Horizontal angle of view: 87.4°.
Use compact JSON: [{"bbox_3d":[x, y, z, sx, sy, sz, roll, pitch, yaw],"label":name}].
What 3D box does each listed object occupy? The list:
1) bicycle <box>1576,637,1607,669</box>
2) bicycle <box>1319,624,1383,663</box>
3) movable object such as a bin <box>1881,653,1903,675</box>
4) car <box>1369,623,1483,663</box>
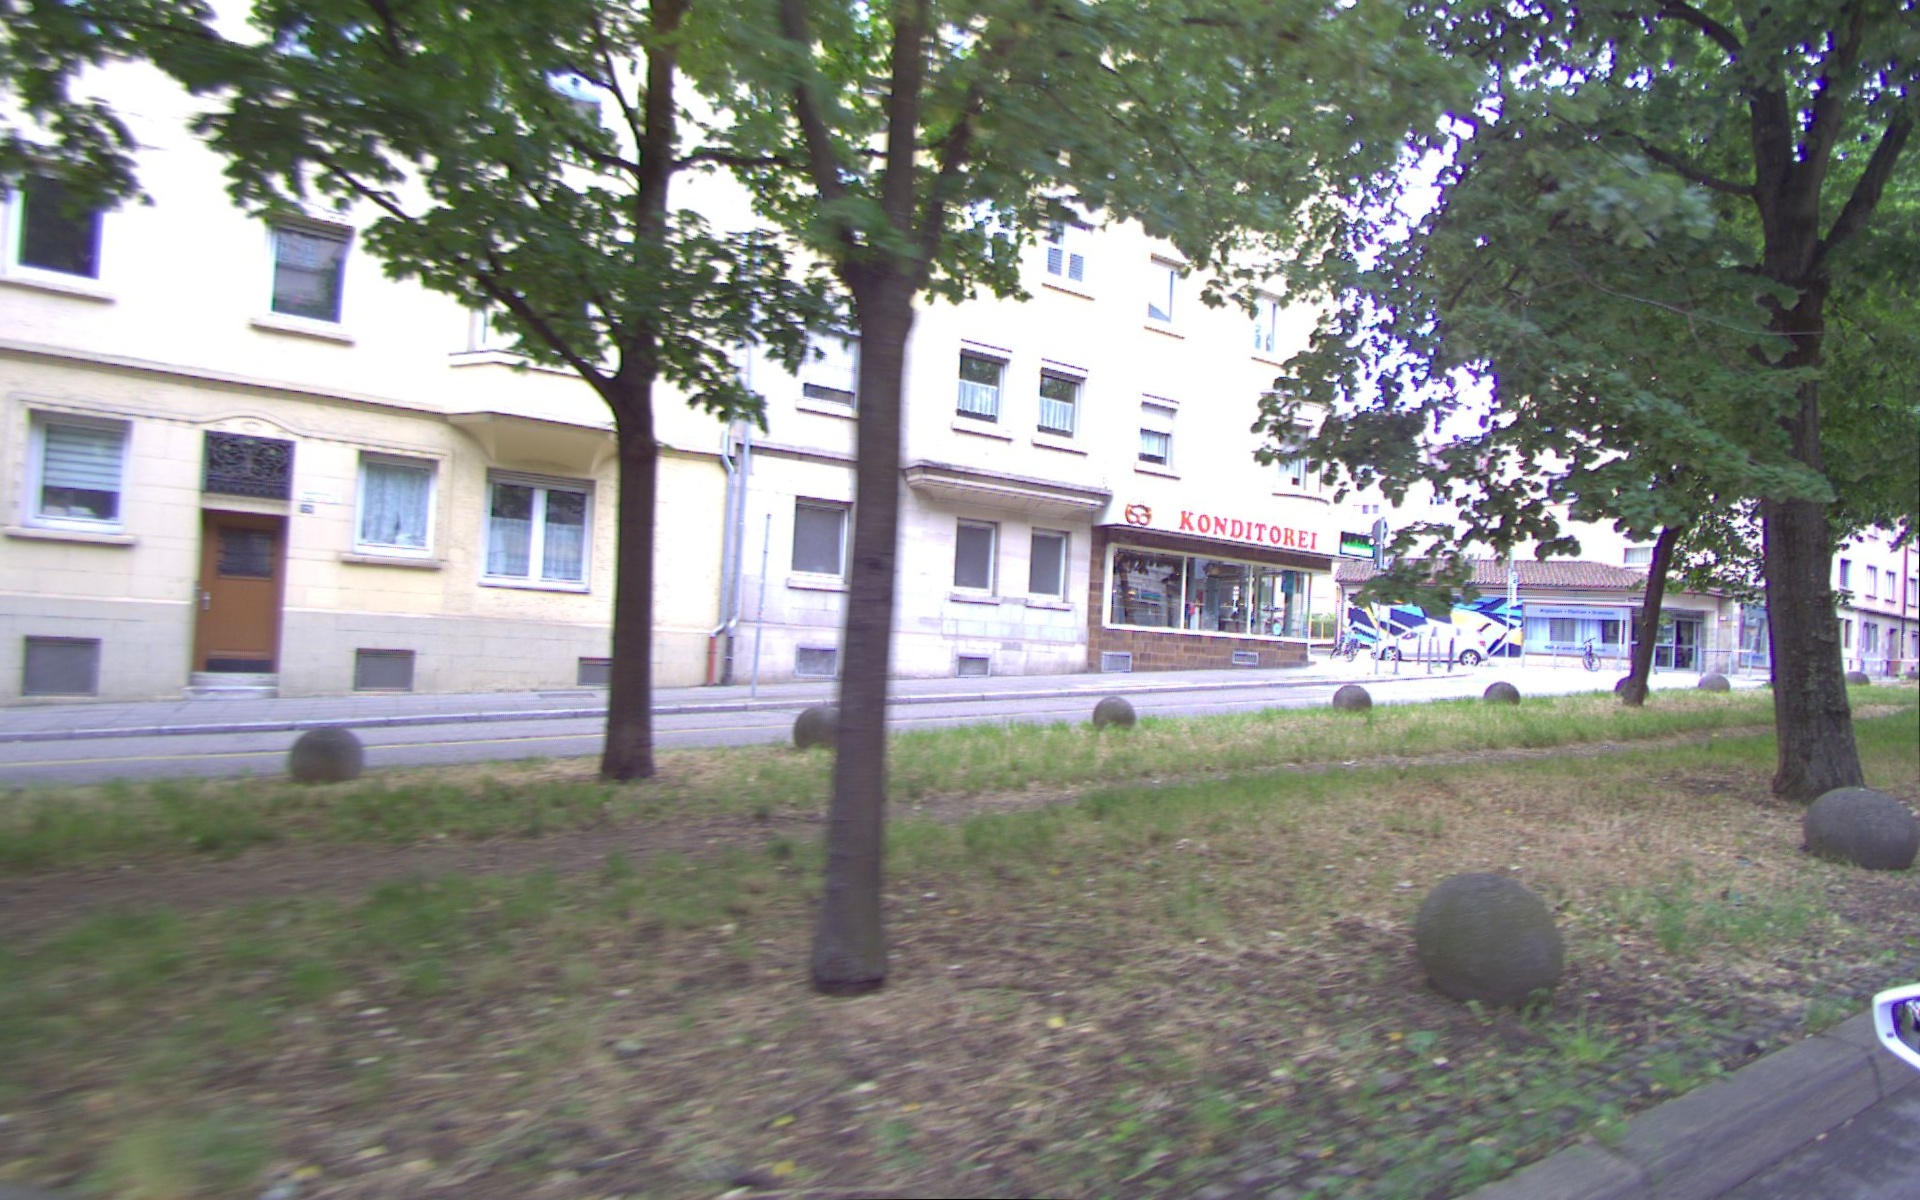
[{"bbox_3d":[23.073,1.940,36.675,0.752,1.099,2.030,3,-1,36],"label":"bicycle"},{"bbox_3d":[12.351,1.344,31.812,0.851,1.060,2.458,3,0,-4],"label":"bicycle"},{"bbox_3d":[47.343,3.238,51.005,0.684,1.073,0.687,4,-1,-37],"label":"movable object such as a bin"},{"bbox_3d":[18.201,1.712,39.311,3.966,1.498,1.820,-2,-3,26],"label":"car"}]
